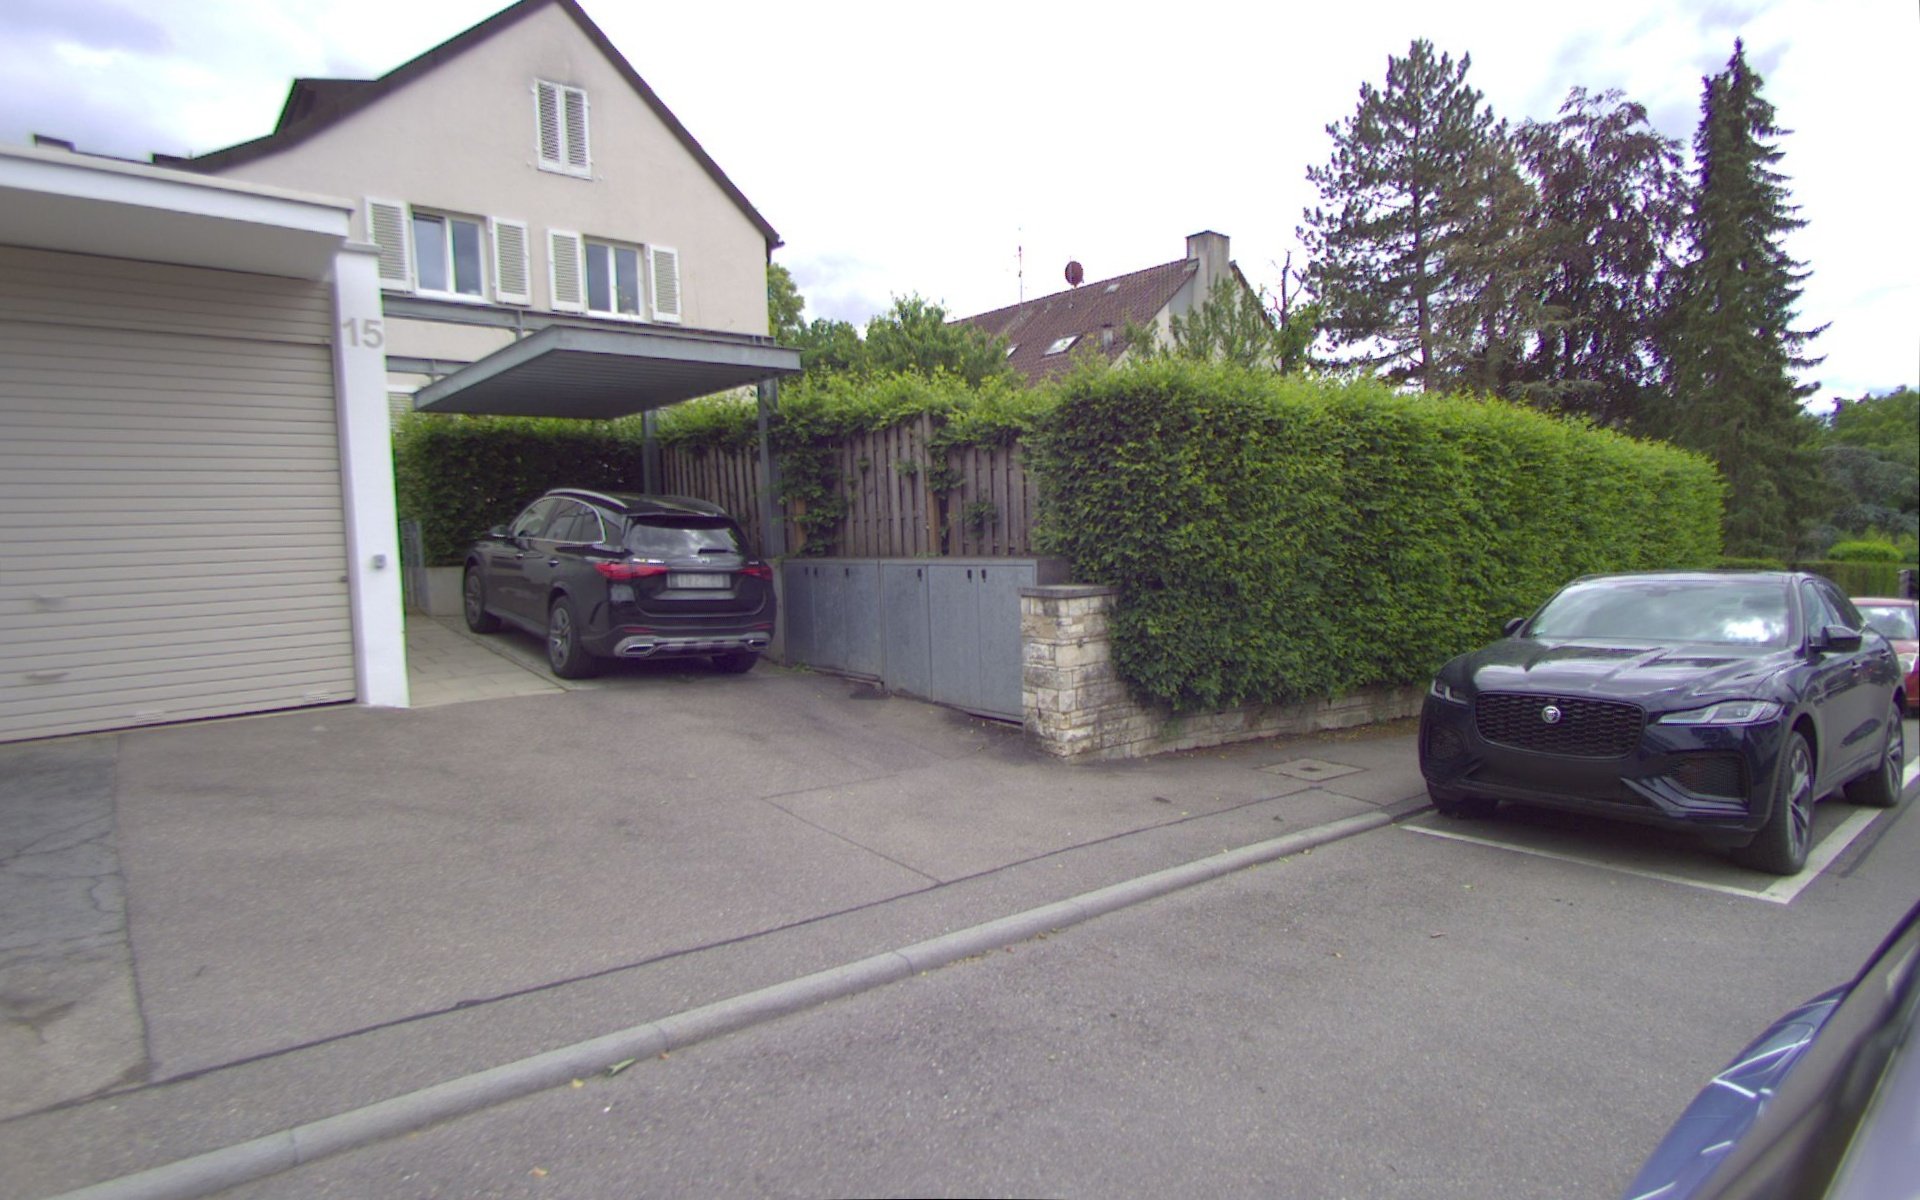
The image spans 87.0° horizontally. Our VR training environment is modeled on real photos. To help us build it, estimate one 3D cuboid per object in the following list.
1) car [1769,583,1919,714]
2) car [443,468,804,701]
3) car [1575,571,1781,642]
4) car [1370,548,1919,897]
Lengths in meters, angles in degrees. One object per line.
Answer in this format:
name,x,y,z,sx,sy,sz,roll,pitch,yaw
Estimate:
car,12.438,0.570,13.691,3.692,1.527,1.664,0,2,-41
car,-3.609,-0.331,10.266,1.853,1.668,4.376,0,8,-42
car,18.703,0.110,26.451,4.204,1.619,1.854,3,3,41
car,4.916,0.552,6.923,4.431,1.638,1.998,-1,0,-38
